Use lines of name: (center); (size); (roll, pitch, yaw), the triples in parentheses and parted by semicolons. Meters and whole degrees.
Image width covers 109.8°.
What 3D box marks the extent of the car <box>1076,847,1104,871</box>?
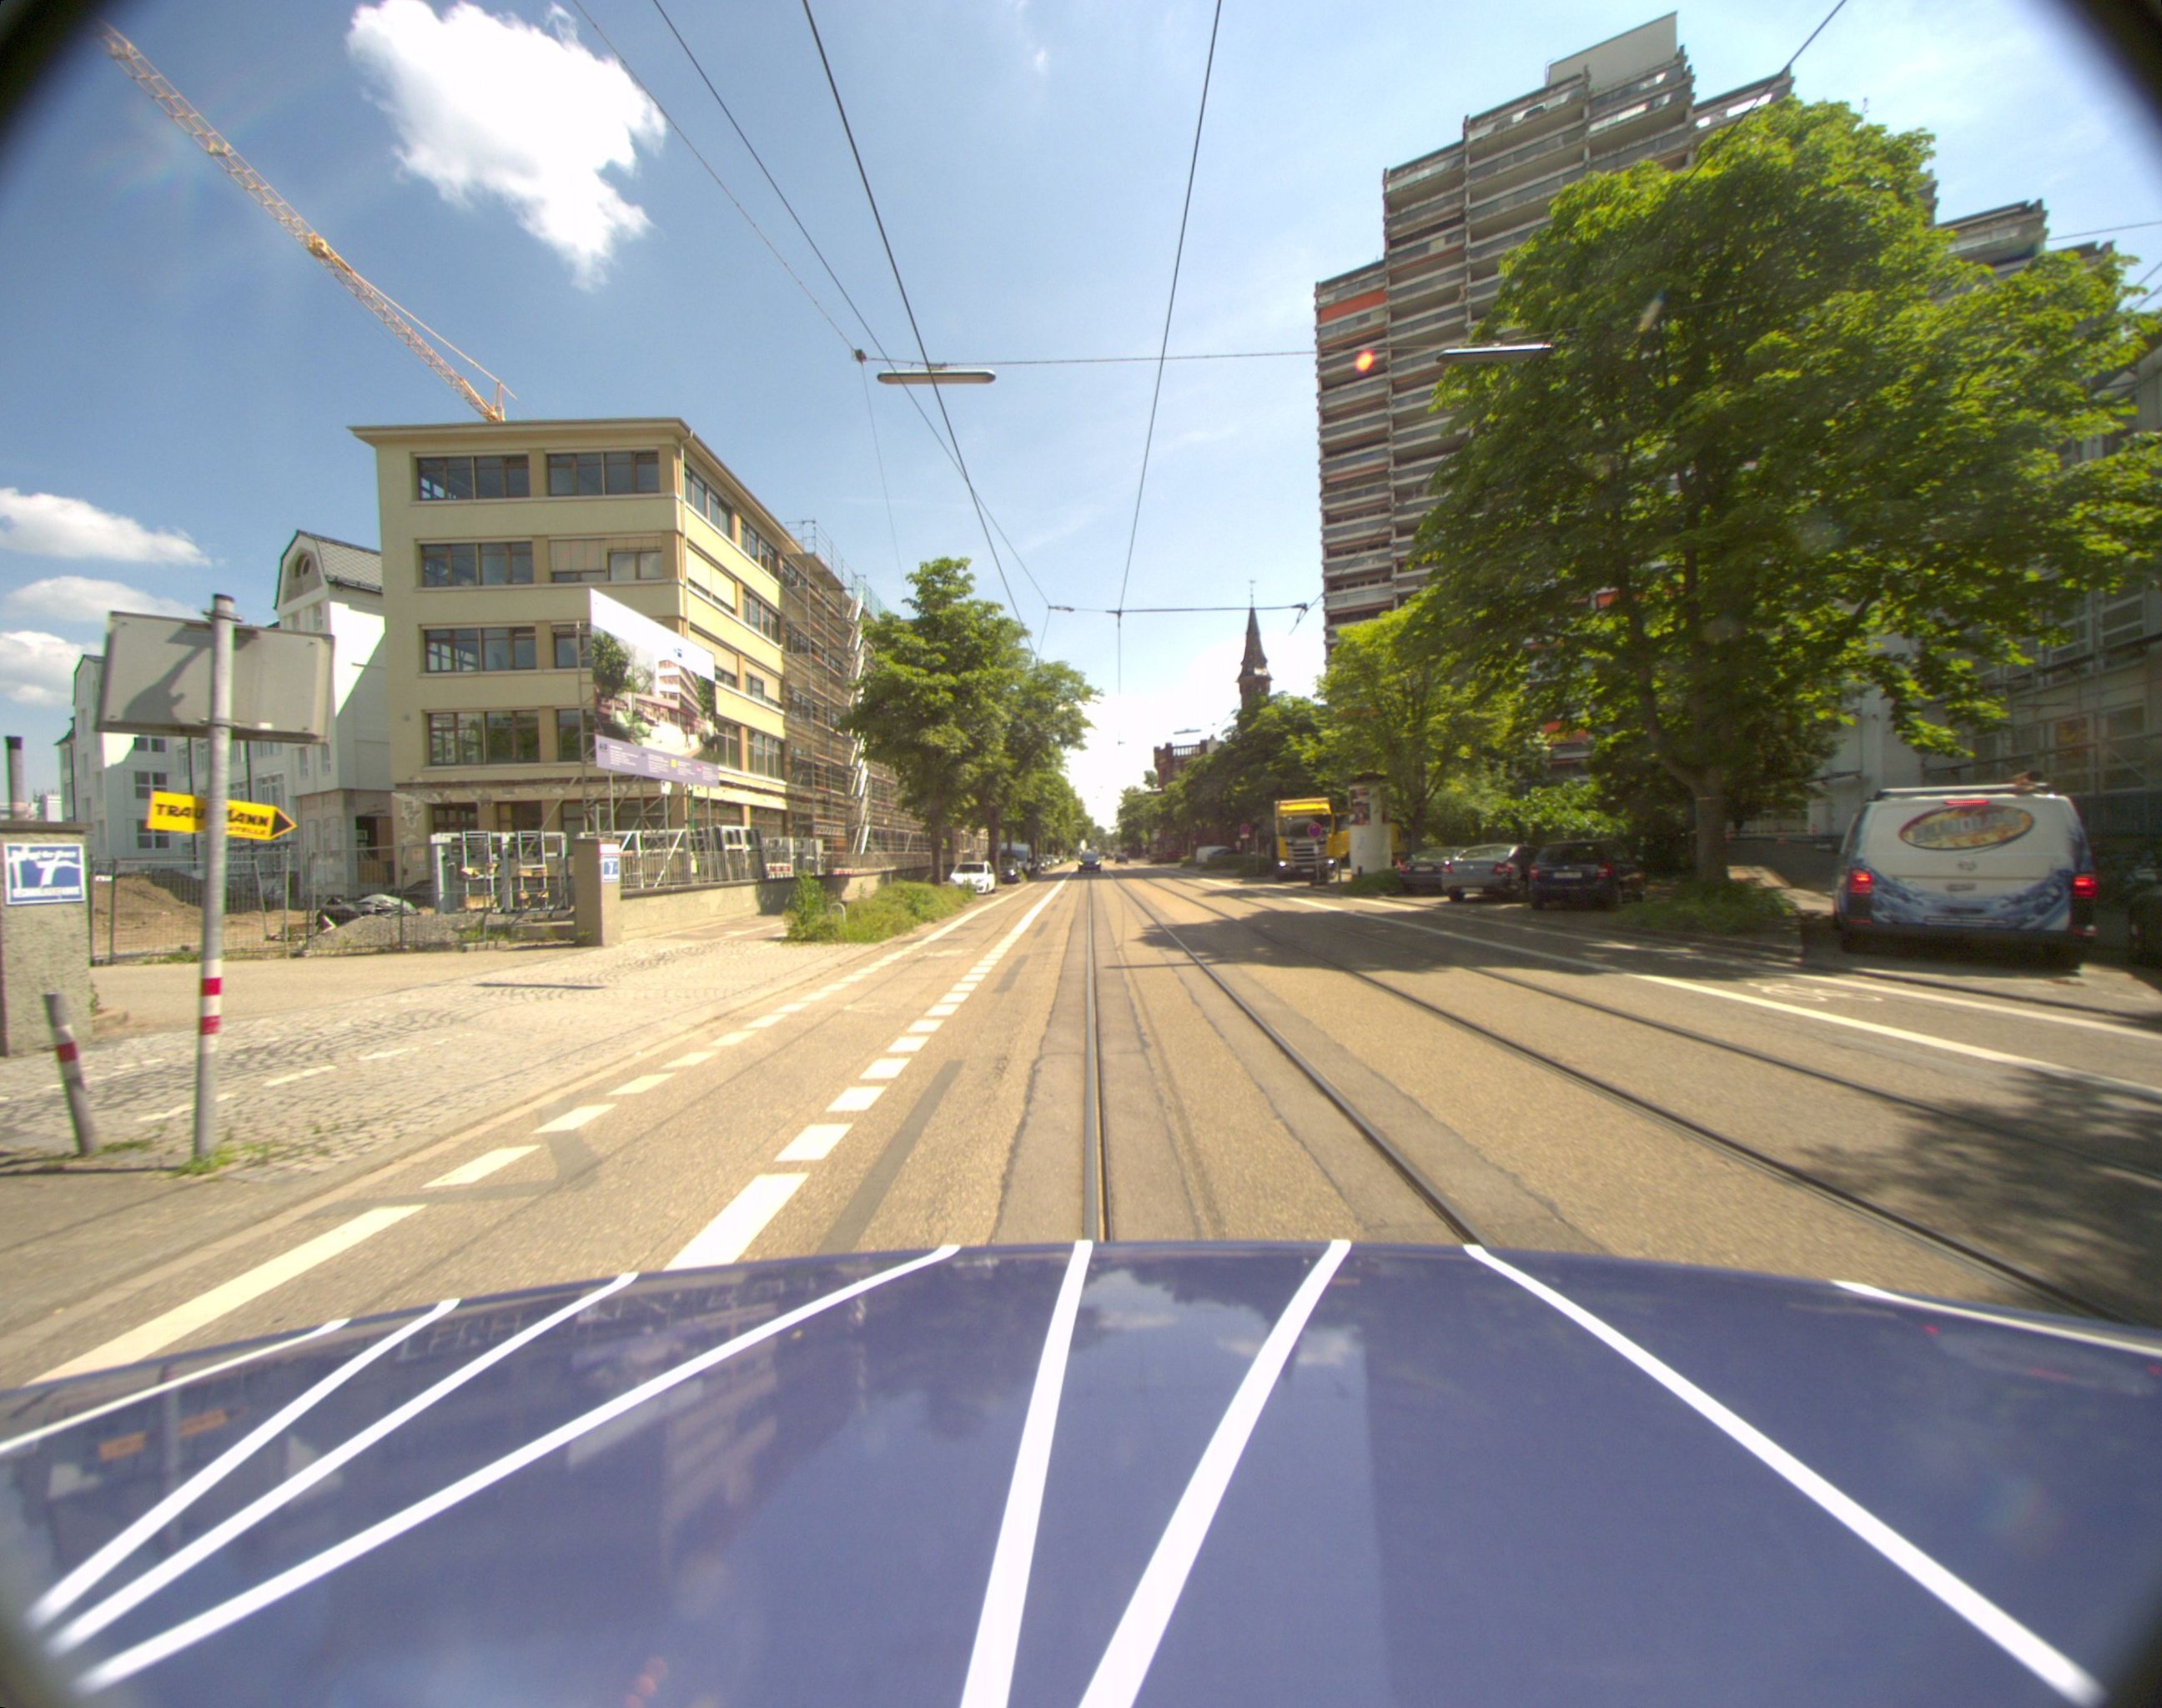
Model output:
car: (0.698, 0.393, 60.334); (1.998, 1.731, 4.227); (-3, 0, 0)

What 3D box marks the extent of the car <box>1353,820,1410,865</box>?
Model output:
car: (18.896, -0.789, 47.527); (2.179, 2.551, 6.735); (-2, 2, 31)

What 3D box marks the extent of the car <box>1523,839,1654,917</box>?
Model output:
car: (11.257, 0.445, 16.753); (3.717, 1.535, 1.687); (-1, 1, -45)

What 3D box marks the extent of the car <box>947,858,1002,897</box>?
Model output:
car: (-4.567, 0.994, 33.055); (1.648, 1.525, 3.785); (-2, 0, 2)

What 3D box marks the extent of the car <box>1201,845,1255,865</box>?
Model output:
car: (12.034, 0.100, 62.169); (4.455, 1.386, 1.768); (-3, 0, -38)

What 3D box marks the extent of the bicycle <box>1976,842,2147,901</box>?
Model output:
bicycle: (19.330, 0.362, 15.043); (2.013, 1.069, 0.558); (-3, 1, 26)

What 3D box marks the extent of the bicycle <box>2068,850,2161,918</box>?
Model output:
bicycle: (17.874, 0.468, 12.383); (2.131, 1.069, 0.558); (-3, 1, 26)

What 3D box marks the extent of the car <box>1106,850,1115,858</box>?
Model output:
car: (6.726, -0.042, 171.508); (1.835, 1.671, 4.184); (-2, 0, 1)

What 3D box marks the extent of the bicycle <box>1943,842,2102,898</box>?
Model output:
bicycle: (19.648, 0.350, 15.914); (2.013, 1.069, 0.558); (-3, 1, 26)

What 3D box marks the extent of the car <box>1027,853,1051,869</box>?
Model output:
car: (-4.078, 0.706, 74.309); (1.829, 1.463, 4.486); (-2, 0, 2)

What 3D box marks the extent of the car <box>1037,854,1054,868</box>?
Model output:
car: (-3.929, 0.728, 84.590); (1.675, 1.429, 4.041); (-2, 0, 0)

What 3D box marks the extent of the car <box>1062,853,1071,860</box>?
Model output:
car: (-3.019, 0.538, 156.714); (1.756, 1.263, 3.833); (-3, 0, 1)

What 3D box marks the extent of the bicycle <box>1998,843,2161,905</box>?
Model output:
bicycle: (19.047, 0.386, 14.419); (2.013, 1.069, 0.558); (-3, 1, 26)

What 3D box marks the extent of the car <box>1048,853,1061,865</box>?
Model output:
car: (-3.720, 0.690, 107.117); (1.676, 1.490, 4.364); (-2, 0, -3)

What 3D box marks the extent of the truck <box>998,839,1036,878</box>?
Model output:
truck: (-4.385, 0.311, 52.874); (2.019, 2.474, 5.955); (-2, 0, 0)

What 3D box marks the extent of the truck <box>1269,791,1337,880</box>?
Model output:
truck: (11.243, -0.953, 39.109); (2.719, 3.819, 10.973); (-3, 1, 15)

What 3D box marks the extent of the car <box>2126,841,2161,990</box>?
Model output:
car: (11.172, 0.627, 6.642); (1.812, 1.498, 3.717); (1, 1, 45)

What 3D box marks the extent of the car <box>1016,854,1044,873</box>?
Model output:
car: (-4.231, 0.743, 63.856); (1.828, 1.463, 4.401); (-2, 0, 3)

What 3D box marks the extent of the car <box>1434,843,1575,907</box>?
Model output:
car: (11.122, 0.466, 19.860); (4.212, 1.498, 1.869); (-1, 1, -40)

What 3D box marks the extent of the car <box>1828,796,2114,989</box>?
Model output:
car: (11.241, 0.357, 9.985); (1.916, 1.923, 4.767); (1, 1, 43)

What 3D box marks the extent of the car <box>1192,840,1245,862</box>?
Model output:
car: (12.516, -0.267, 68.940); (4.555, 1.781, 1.896); (-3, 0, -32)

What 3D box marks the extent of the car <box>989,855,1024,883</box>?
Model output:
car: (-4.381, 0.872, 44.986); (1.648, 1.525, 3.946); (-2, 0, 0)

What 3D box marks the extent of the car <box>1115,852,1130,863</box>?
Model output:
car: (5.913, 0.474, 109.573); (1.779, 1.389, 4.286); (-2, 0, -1)

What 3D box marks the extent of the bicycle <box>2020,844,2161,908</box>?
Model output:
bicycle: (18.784, 0.406, 13.856); (2.013, 1.069, 0.558); (-3, 1, 26)

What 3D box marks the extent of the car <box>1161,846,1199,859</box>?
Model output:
car: (13.252, -0.225, 101.560); (4.787, 1.557, 1.997); (-2, 0, -28)

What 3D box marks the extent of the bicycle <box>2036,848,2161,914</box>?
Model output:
bicycle: (18.158, 0.455, 13.042); (2.131, 1.069, 0.558); (-3, 1, 26)

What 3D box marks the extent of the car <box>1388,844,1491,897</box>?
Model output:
car: (10.998, 0.448, 23.209); (1.757, 1.498, 3.717); (0, 1, 44)
